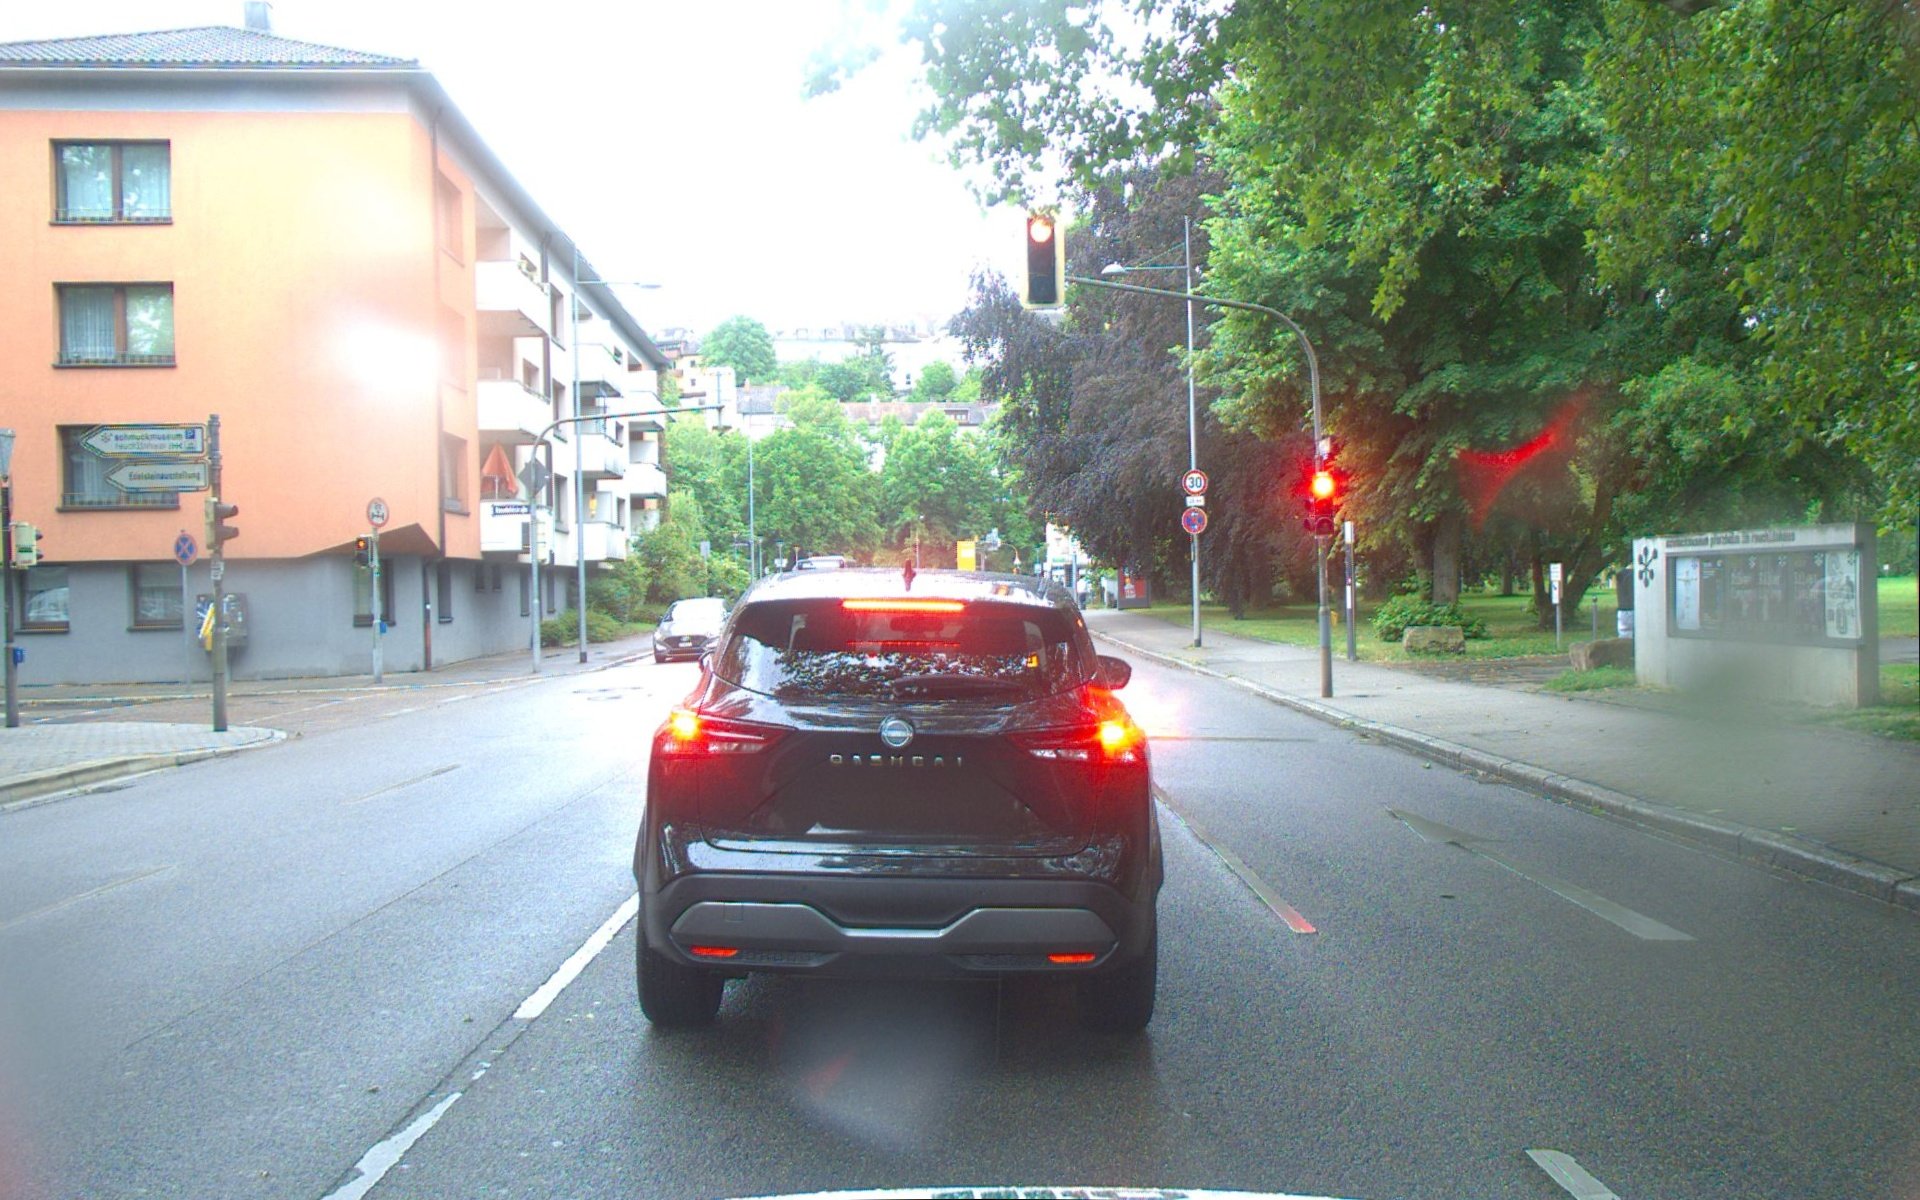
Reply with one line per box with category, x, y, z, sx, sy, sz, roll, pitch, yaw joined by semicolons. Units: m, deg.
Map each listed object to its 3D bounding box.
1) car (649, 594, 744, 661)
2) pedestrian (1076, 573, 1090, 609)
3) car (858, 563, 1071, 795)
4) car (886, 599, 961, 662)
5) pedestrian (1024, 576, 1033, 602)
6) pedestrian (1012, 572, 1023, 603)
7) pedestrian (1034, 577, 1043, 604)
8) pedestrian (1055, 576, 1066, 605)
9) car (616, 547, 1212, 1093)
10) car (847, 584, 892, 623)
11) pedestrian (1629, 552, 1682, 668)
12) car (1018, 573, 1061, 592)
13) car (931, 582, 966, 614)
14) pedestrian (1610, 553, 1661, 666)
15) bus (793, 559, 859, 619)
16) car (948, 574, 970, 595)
car;-6.444;0.641;40.847;1.772;1.441;4.029;-3;1;-2
pedestrian;6.261;-0.463;84.307;0.606;1.810;0.778;-2;0;-1
car;0.063;0.600;14.676;1.588;1.738;3.771;-2;0;1
car;-0.936;0.727;41.119;1.772;1.442;4.029;0;0;-2
pedestrian;4.490;-0.744;108.281;0.533;1.680;0.490;1;-1;0
pedestrian;4.121;-0.927;119.112;0.752;2.222;0.711;1;-1;2
pedestrian;5.066;-0.619;107.129;0.504;1.684;0.550;1;-1;-1
pedestrian;6.288;-0.604;103.688;0.606;1.810;0.550;-2;0;-1
car;-0.163;0.672;6.981;1.769;1.618;3.999;1;0;-1
car;-3.604;0.129;66.462;1.591;1.439;3.454;-2;0;0
pedestrian;10.787;0.151;25.660;0.493;1.751;0.559;-2;0;-7
car;7.855;-1.727;163.886;3.916;1.713;1.995;-2;0;-11
car;-0.550;-0.118;78.667;1.591;1.439;3.454;-2;0;0
pedestrian;10.716;0.153;26.245;0.475;1.751;0.559;-2;0;-7
bus;-7.223;-0.577;90.570;2.710;3.026;11.779;-1;0;-1
car;-0.079;-1.249;136.525;1.714;1.662;3.634;-2;1;0
